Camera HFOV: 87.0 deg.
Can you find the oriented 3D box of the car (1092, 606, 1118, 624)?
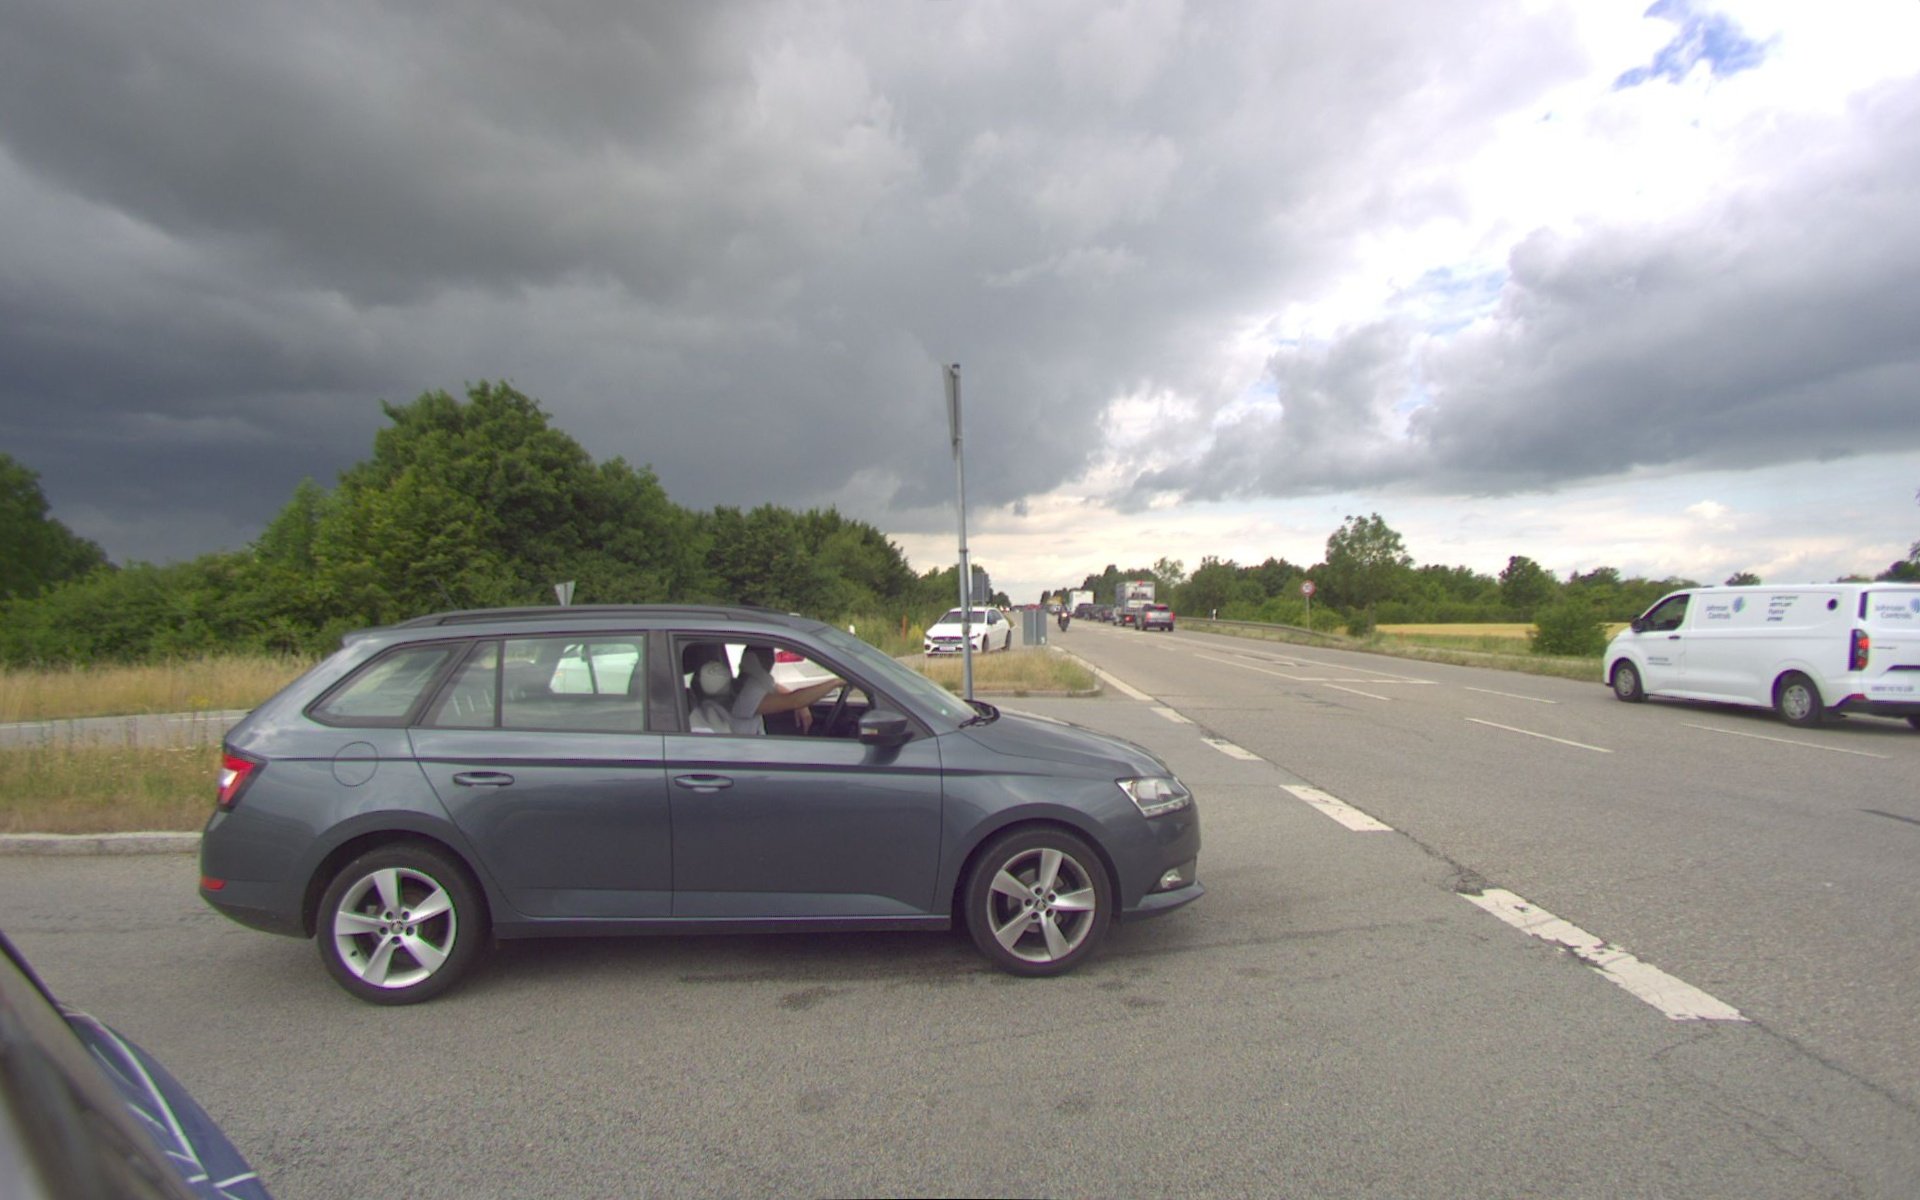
[{"bbox_3d":[12.619,1.322,88.297,1.823,1.537,3.998,-1,-1,1],"label":"car"}]

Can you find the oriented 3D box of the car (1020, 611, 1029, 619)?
[{"bbox_3d":[14.151,3.337,223.032,1.773,1.564,3.999,-1,-1,1],"label":"car"}]

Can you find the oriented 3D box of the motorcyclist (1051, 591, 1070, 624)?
[{"bbox_3d":[5.501,0.405,55.312,0.931,1.763,1.200,-1,-1,1],"label":"motorcyclist"}]

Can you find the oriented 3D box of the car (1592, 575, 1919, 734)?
[{"bbox_3d":[11.976,0.707,14.810,2.084,1.900,5.389,0,-1,1],"label":"car"}]

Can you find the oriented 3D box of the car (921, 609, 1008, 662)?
[{"bbox_3d":[0.211,1.042,30.209,1.754,1.462,4.375,-1,-1,12],"label":"car"}]

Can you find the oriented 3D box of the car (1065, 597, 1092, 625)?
[{"bbox_3d":[13.299,1.326,114.129,2.308,3.052,6.556,-1,-1,0],"label":"car"}]

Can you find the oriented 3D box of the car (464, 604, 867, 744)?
[{"bbox_3d":[-3.422,0.789,11.910,4.277,1.419,1.809,0,-2,18],"label":"car"}]

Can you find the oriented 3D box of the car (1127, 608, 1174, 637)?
[{"bbox_3d":[11.460,1.341,61.046,1.972,1.636,4.261,2,-1,0],"label":"car"}]

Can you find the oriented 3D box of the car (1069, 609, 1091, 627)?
[{"bbox_3d":[12.393,1.848,104.670,1.832,1.763,3.999,0,-1,1],"label":"car"}]

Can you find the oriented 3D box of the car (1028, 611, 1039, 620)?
[{"bbox_3d":[13.938,2.904,191.874,1.773,1.564,3.999,-1,-1,1],"label":"car"}]

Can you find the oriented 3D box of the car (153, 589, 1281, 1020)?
[{"bbox_3d":[-0.880,0.713,4.566,4.054,1.458,1.721,-1,0,-5],"label":"car"}]

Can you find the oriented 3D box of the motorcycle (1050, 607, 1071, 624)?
[{"bbox_3d":[5.506,0.852,55.413,0.931,0.896,2.145,-1,-1,1],"label":"motorcycle"}]

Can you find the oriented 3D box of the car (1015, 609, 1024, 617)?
[{"bbox_3d":[14.477,3.249,246.348,1.973,1.839,4.502,-1,-1,1],"label":"car"}]

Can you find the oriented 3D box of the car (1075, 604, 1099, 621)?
[{"bbox_3d":[12.098,1.213,96.548,1.823,1.537,3.998,-1,-1,1],"label":"car"}]

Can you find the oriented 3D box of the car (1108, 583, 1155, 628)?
[{"bbox_3d":[12.332,0.487,73.273,2.309,3.052,6.555,2,-1,1],"label":"car"}]

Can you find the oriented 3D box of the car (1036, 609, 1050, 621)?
[{"bbox_3d":[12.735,2.325,155.671,1.833,1.763,3.998,-1,-1,2],"label":"car"}]

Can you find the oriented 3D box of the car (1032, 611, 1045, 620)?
[{"bbox_3d":[13.324,2.658,172.132,1.772,1.564,3.999,-1,-1,0],"label":"car"}]
